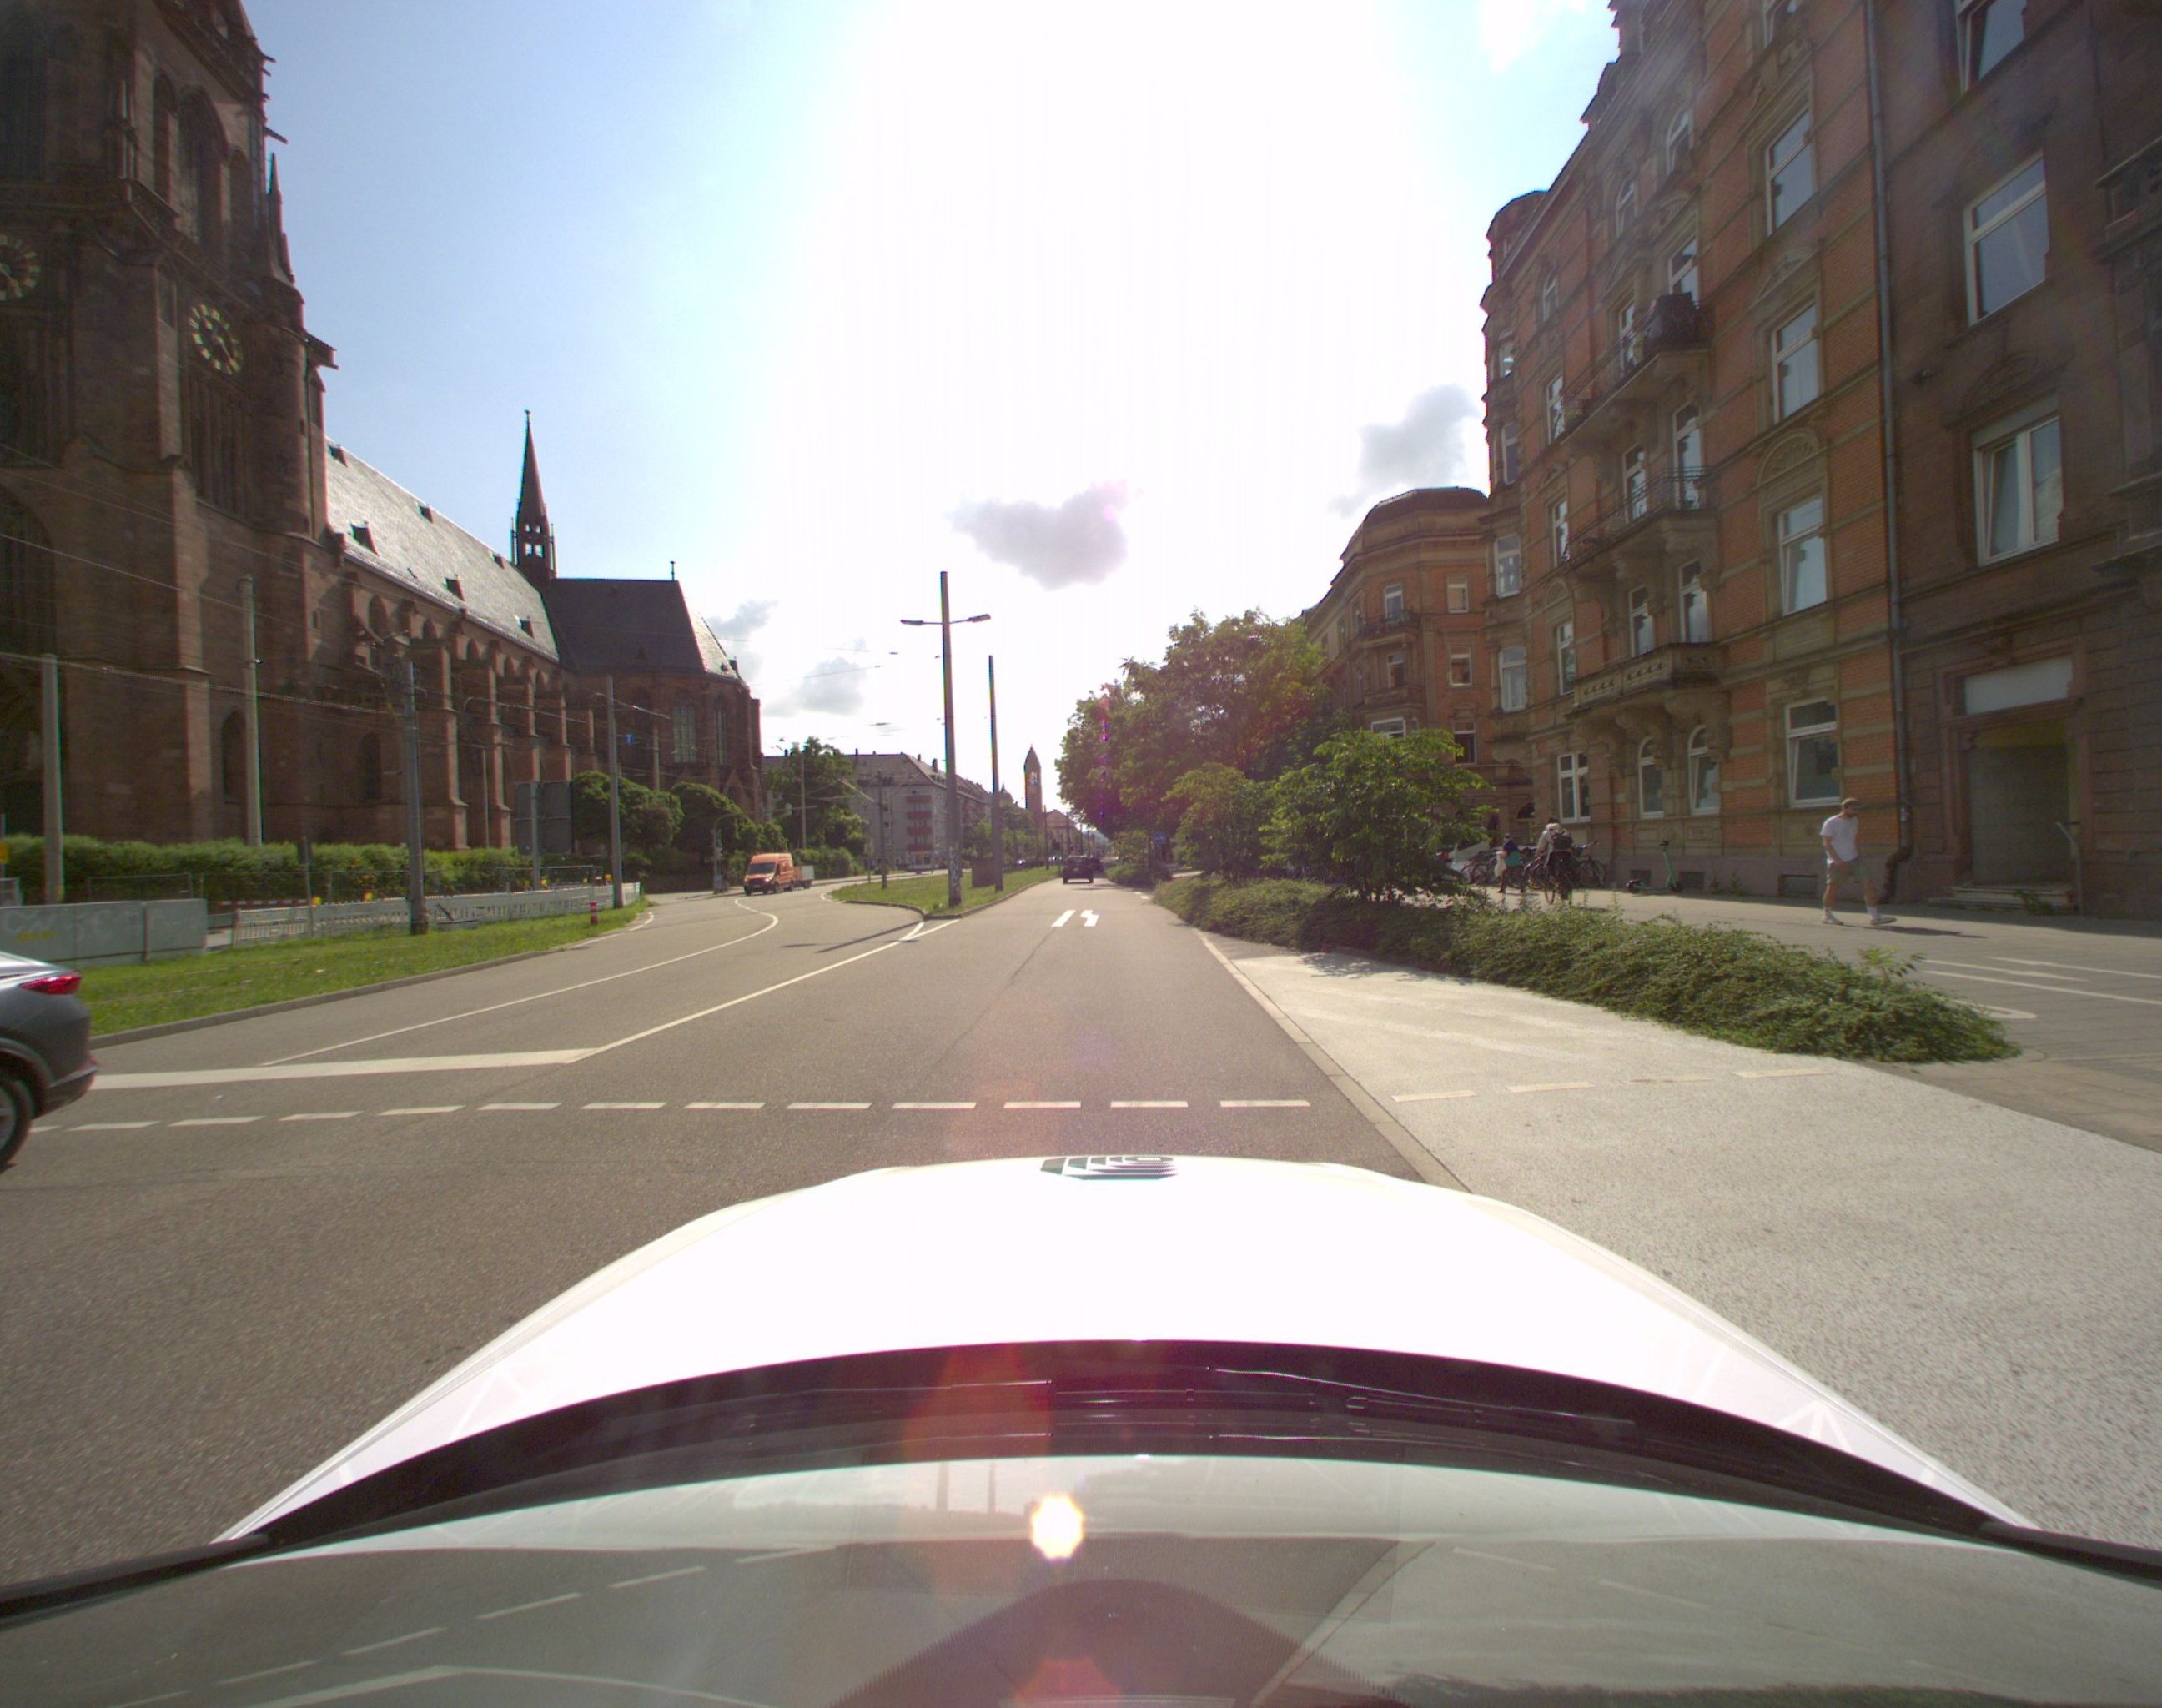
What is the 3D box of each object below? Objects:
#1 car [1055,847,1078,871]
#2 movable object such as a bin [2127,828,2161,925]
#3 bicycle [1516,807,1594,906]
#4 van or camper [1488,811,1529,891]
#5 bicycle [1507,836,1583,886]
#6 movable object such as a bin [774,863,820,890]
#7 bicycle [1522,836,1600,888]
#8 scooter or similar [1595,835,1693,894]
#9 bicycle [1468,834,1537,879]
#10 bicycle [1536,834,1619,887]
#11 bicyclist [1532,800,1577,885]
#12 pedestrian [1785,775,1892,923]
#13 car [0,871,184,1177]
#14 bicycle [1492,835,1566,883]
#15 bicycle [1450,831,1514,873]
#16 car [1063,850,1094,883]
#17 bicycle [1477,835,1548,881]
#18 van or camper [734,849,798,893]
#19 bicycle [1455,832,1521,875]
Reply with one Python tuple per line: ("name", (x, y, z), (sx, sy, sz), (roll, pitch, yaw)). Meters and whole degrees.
("car", (-1.294, 0.428, 74.492), (1.987, 2.013, 3.999), (-3, 0, 0))
("movable object such as a bin", (12.768, 0.244, 9.226), (0.782, 1.107, 0.777), (-3, 0, 1))
("bicycle", (9.768, 0.053, 16.861), (0.680, 1.925, 1.591), (-3, 0, 4))
("van or camper", (11.147, -0.078, 21.237), (0.663, 2.013, 0.638), (-3, 0, 3))
("bicycle", (12.606, 0.187, 22.146), (1.760, 1.267, 0.467), (-2, 2, 6))
("movable object such as a bin", (-21.173, 1.636, 60.874), (2.201, 1.693, 3.715), (-2, 2, -2))
("bicycle", (12.638, 0.204, 21.466), (1.737, 1.267, 0.467), (-2, 2, 6))
("scooter or similar", (12.572, 0.230, 18.202), (1.762, 1.185, 0.467), (-4, -1, 2))
("bicycle", (12.586, 0.074, 24.346), (1.760, 1.267, 0.467), (-2, 2, 6))
("bicycle", (12.719, 0.170, 20.878), (1.760, 1.267, 0.467), (-2, 2, 6))
("bicyclist", (9.791, -0.231, 16.861), (0.425, 1.718, 0.829), (-2, 0, 4))
("pedestrian", (10.749, -0.069, 11.583), (0.764, 2.013, 0.716), (-3, 0, 3))
("car", (-6.543, 0.922, 2.884), (1.792, 1.552, 4.299), (-3, 0, 3))
("bicycle", (12.594, 0.144, 22.919), (1.760, 1.267, 0.467), (-2, 2, 6))
("bicycle", (12.768, -0.061, 25.964), (1.760, 1.267, 0.467), (-2, 2, 6))
("car", (-0.122, 0.741, 49.000), (1.683, 1.711, 3.610), (-2, 2, 1))
("bicycle", (12.558, 0.115, 23.723), (1.760, 1.267, 0.467), (-2, 2, 6))
("van or camper", (-21.063, 1.100, 54.799), (2.252, 2.737, 6.192), (-3, 0, -5))
("bicycle", (12.679, -0.010, 25.405), (1.760, 1.267, 0.467), (-2, 2, 6))
